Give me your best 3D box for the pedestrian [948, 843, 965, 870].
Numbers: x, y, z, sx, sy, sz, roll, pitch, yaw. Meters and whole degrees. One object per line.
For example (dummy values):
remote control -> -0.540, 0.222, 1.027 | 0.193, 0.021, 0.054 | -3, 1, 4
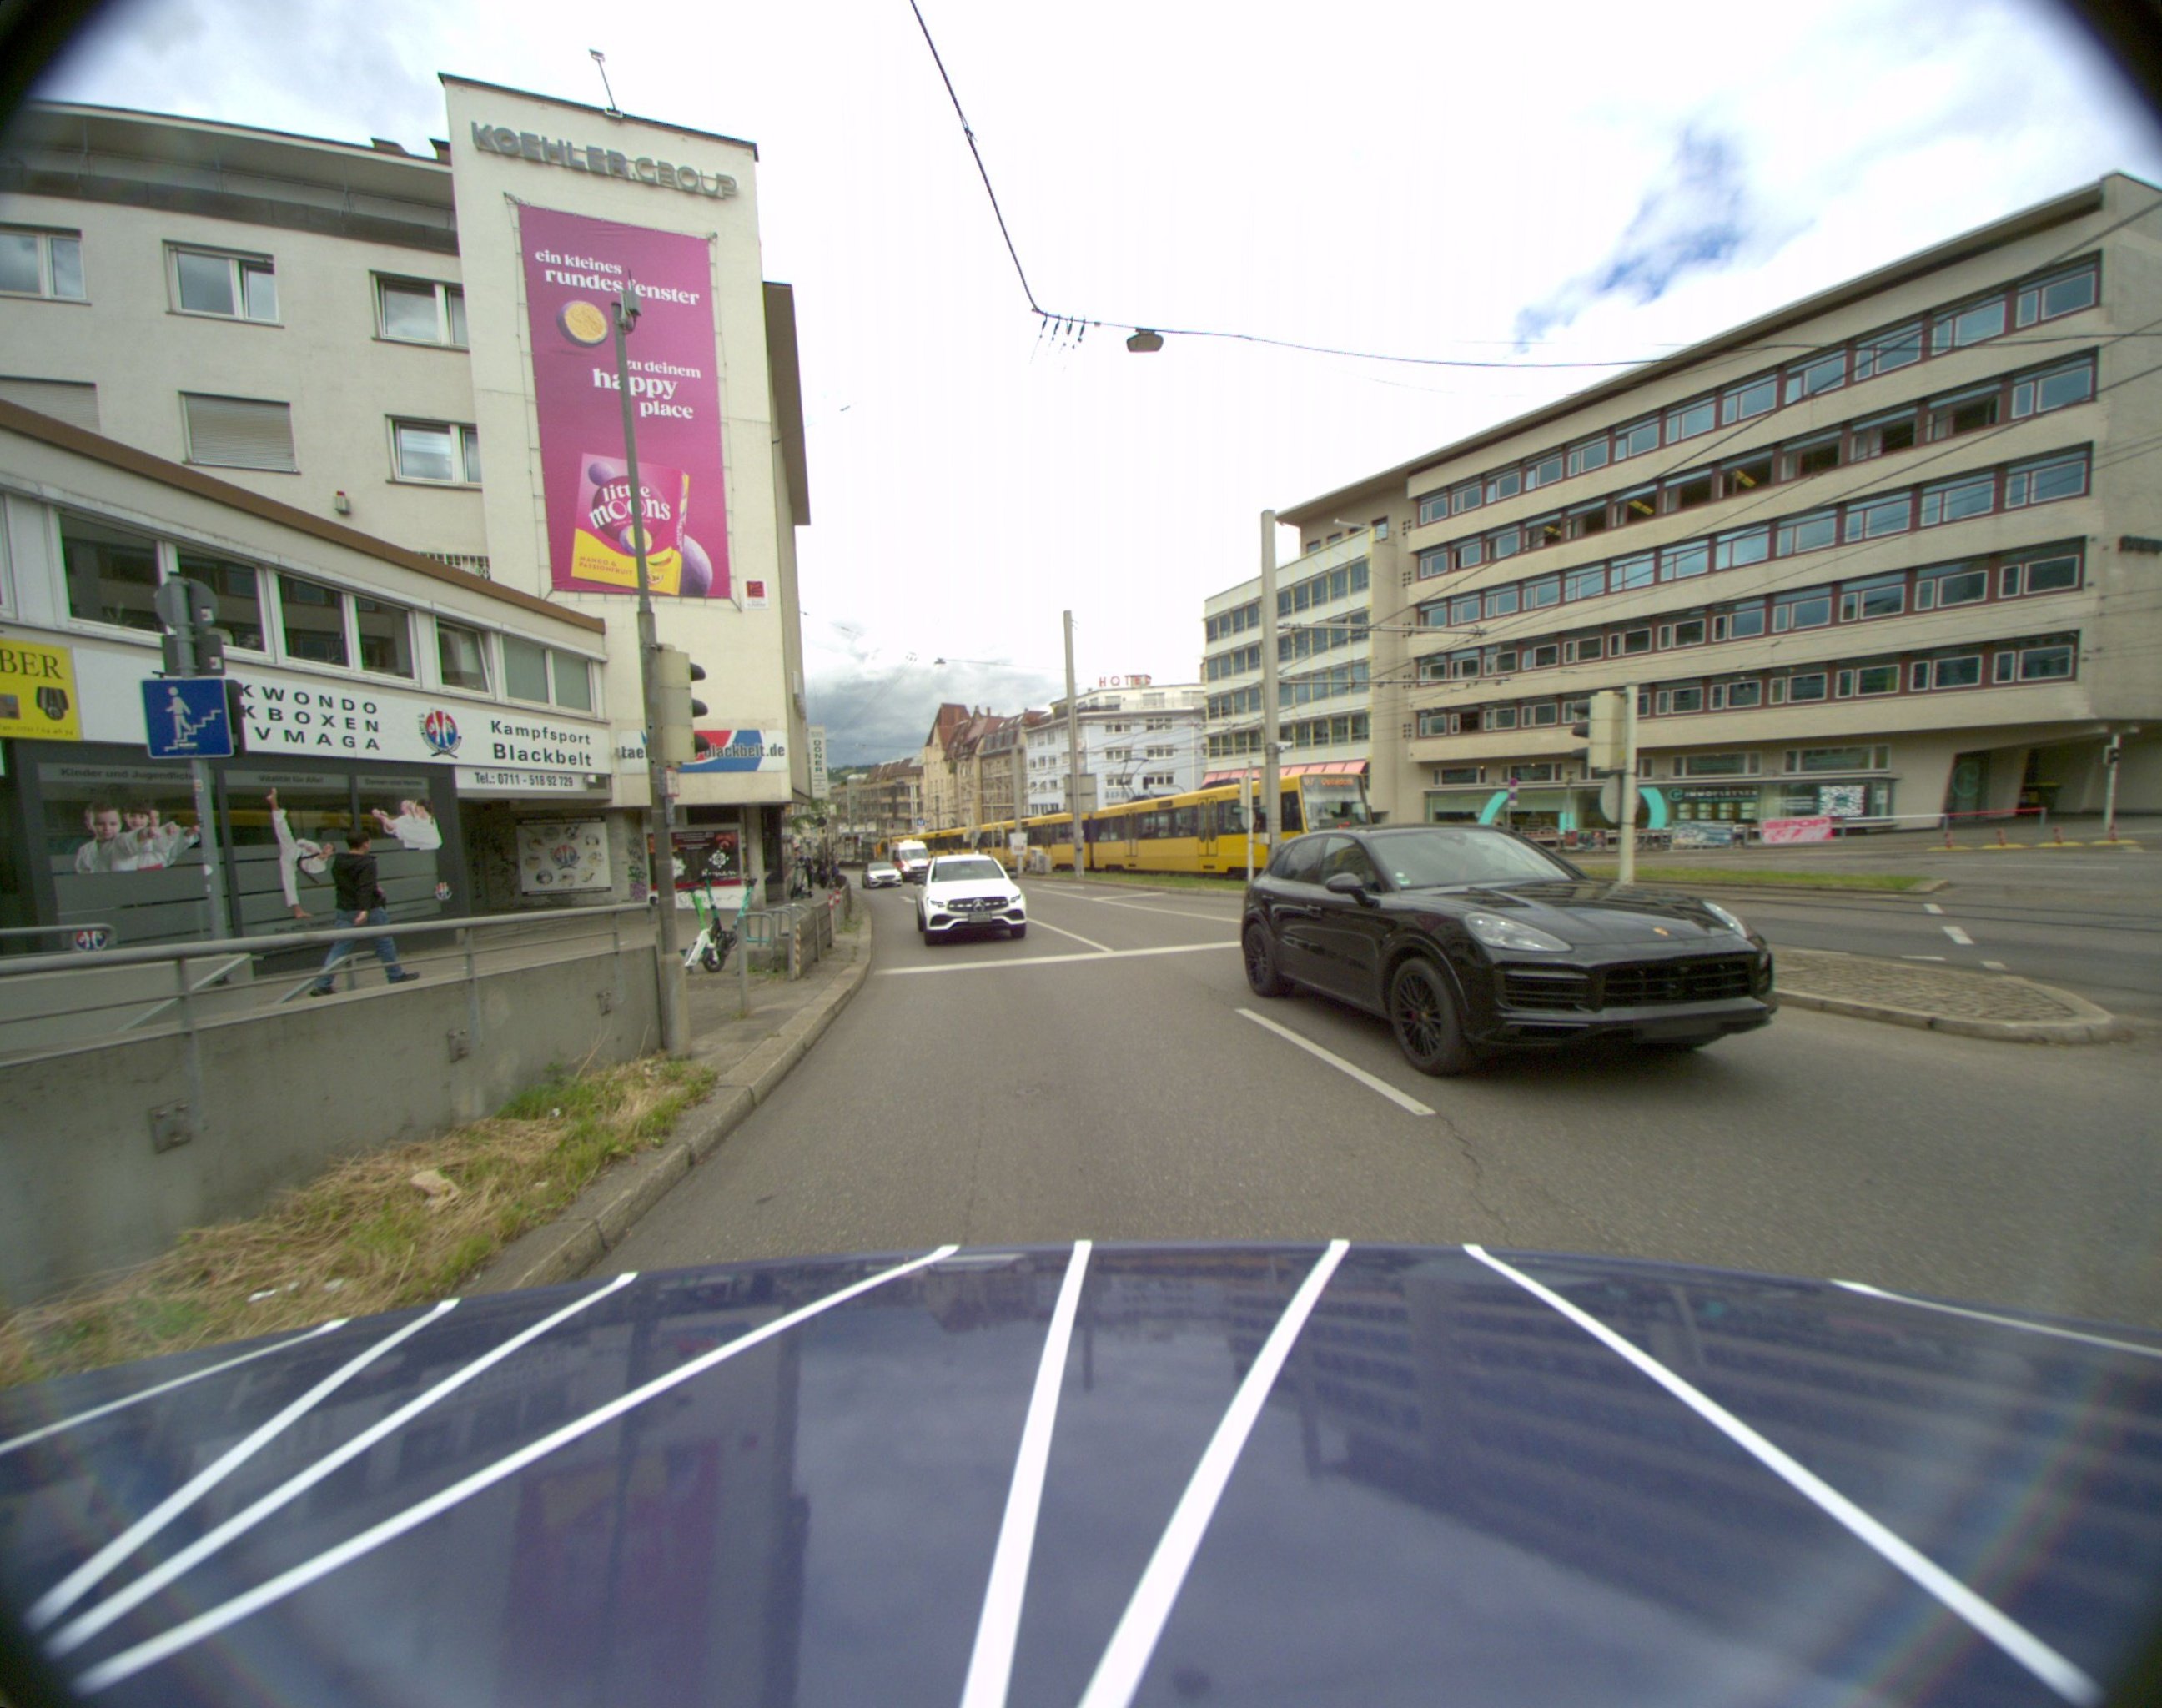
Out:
pedestrian -> -9.386, 0.168, 57.189 | 0.933, 1.959, 1.230 | -4, 5, -25

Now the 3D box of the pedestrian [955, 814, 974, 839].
pedestrian -> -8.451, -2.014, 55.082 | 1.121, 1.672, 1.038 | -4, 7, -25

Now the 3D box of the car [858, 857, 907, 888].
car -> -11.318, 1.029, 43.153 | 1.672, 1.521, 3.991 | -7, 2, -27

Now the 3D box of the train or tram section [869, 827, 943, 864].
train or tram section -> -18.840, -0.768, 80.734 | 2.894, 3.423, 14.196 | -7, 3, -32

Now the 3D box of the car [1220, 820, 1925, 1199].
car -> 2.946, 0.696, 6.107 | 2.034, 1.675, 4.776 | -4, 2, -9

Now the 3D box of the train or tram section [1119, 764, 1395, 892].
train or tram section -> 5.543, -0.819, 28.881 | 2.893, 3.643, 14.450 | -2, 1, -19

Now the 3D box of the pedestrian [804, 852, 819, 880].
pedestrian -> -17.581, 0.759, 49.583 | 0.723, 1.776, 0.882 | -6, 3, -23

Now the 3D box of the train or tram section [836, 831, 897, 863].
train or tram section -> -26.372, -0.733, 92.611 | 2.894, 3.400, 14.196 | -7, 3, -32

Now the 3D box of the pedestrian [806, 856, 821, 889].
pedestrian -> -15.267, 1.062, 43.381 | 0.730, 1.797, 0.653 | 4, -1, -19

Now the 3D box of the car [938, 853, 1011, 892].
car -> -4.808, 0.777, 33.768 | 1.900, 1.467, 4.522 | -5, 2, -24

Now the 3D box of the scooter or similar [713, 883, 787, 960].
scooter or similar -> -5.556, 1.110, 12.797 | 0.375, 1.175, 1.013 | -2, 2, 42

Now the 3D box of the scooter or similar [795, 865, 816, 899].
scooter or similar -> -10.888, 1.092, 30.070 | 0.633, 1.242, 1.331 | -4, 1, -17

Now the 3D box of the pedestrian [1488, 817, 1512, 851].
pedestrian -> 22.134, -1.055, 40.135 | 0.762, 1.698, 0.782 | -4, 2, -32

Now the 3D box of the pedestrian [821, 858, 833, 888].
pedestrian -> -14.205, 1.040, 42.510 | 0.564, 1.642, 0.590 | 2, -1, -21

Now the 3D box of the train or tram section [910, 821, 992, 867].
train or tram section -> -11.961, -0.875, 68.296 | 2.935, 3.539, 14.197 | -6, 3, -27

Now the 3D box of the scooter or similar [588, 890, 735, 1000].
scooter or similar -> -5.261, 1.093, 9.582 | 0.581, 1.175, 1.448 | -2, 2, 42

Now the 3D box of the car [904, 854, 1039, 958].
car -> -2.415, 0.888, 15.599 | 1.937, 1.622, 4.766 | -4, 2, -17

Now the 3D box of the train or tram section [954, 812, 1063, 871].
train or tram section -> -5.700, -0.806, 55.590 | 2.894, 3.643, 14.199 | -5, 2, -26

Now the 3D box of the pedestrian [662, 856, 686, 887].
pedestrian -> -13.312, 0.554, 24.849 | 0.509, 0.973, 0.495 | -4, 1, -14

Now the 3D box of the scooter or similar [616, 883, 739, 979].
scooter or similar -> -5.834, 1.079, 11.049 | 0.555, 1.247, 1.448 | -2, 0, 42

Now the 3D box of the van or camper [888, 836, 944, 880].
van or camper -> -10.979, 0.214, 50.086 | 2.212, 2.544, 6.360 | -5, 2, -23

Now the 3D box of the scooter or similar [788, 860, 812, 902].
scooter or similar -> -10.296, 0.971, 27.884 | 0.670, 1.467, 1.176 | -4, 1, -17

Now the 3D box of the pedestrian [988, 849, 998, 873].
pedestrian -> -5.591, 0.418, 48.108 | 0.578, 1.456, 0.675 | -1, 5, -5

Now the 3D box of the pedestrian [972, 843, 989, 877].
pedestrian -> -6.482, 0.376, 49.027 | 0.969, 2.056, 1.031 | -2, 5, -5

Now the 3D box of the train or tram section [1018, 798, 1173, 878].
train or tram section -> 0.235, -0.779, 42.727 | 2.894, 3.643, 14.201 | -4, 2, -23

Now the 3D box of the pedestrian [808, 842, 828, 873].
pedestrian -> -15.808, 0.212, 45.623 | 0.740, 1.784, 0.654 | -13, 5, -20

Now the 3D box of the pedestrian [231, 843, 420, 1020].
pedestrian -> -8.206, 0.786, 8.323 | 0.835, 1.800, 1.151 | 0, 2, 5

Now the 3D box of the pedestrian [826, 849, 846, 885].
pedestrian -> -14.495, 0.772, 44.938 | 0.951, 2.050, 0.777 | 6, -2, -20
